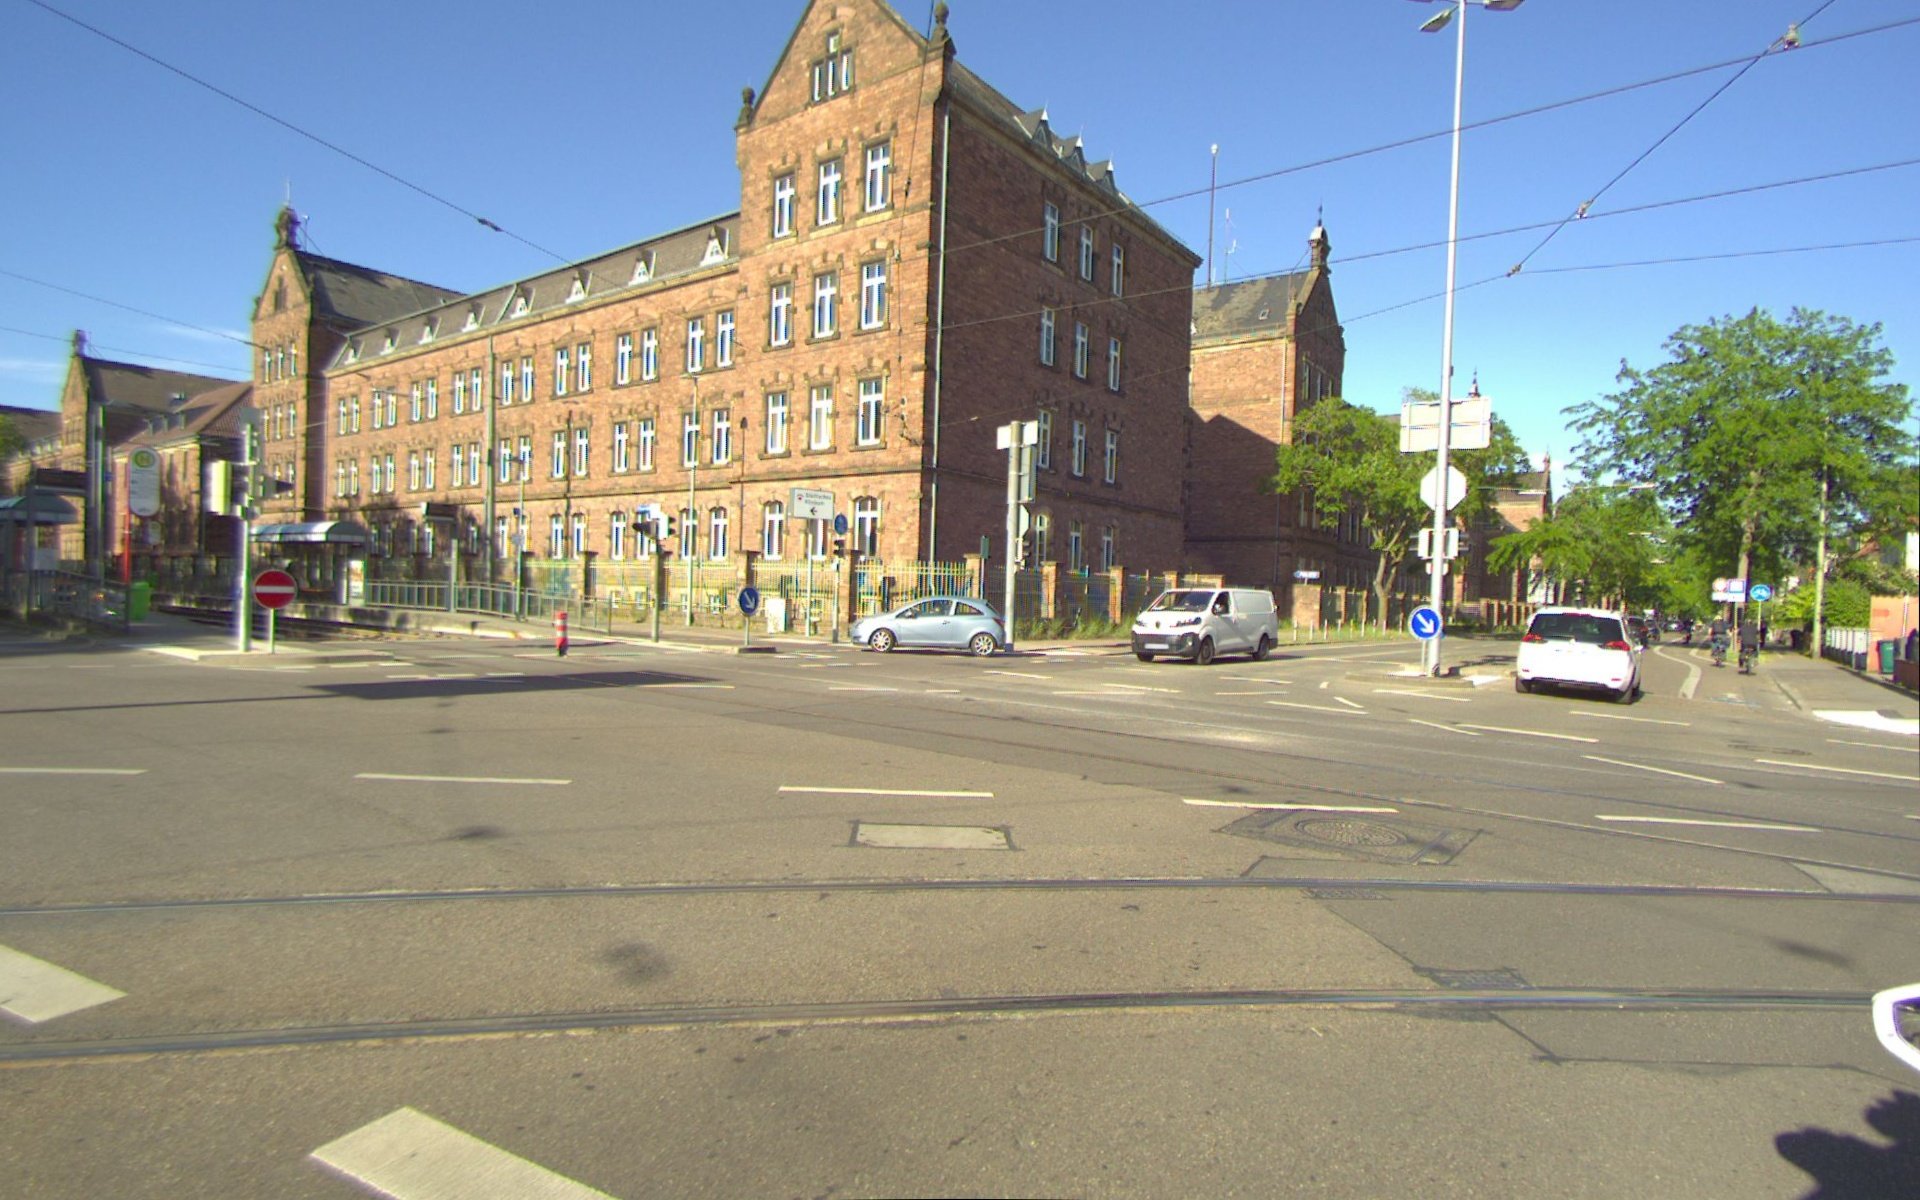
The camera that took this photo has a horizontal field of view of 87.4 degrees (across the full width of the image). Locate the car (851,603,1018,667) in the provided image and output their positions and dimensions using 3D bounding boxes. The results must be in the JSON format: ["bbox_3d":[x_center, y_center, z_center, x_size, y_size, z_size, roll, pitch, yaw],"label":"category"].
[{"bbox_3d":[-0.696,0.857,25.332,4.038,1.462,1.740,2,0,-6],"label":"car"}]

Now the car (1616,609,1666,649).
[{"bbox_3d":[36.232,1.501,53.549,1.964,1.874,4.237,5,3,33],"label":"car"}]

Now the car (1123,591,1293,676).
[{"bbox_3d":[6.525,0.818,25.971,2.133,1.954,5.276,1,0,40],"label":"car"}]

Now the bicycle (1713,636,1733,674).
[{"bbox_3d":[26.061,1.857,34.315,0.465,1.205,1.988,3,1,37],"label":"bicycle"}]

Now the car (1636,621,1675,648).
[{"bbox_3d":[51.168,2.535,73.879,1.967,1.687,4.106,6,3,38],"label":"car"}]

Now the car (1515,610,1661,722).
[{"bbox_3d":[11.972,1.120,19.035,1.937,1.687,4.234,6,3,36],"label":"car"}]

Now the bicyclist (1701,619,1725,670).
[{"bbox_3d":[26.017,1.518,34.710,0.600,1.679,0.792,3,2,37],"label":"bicyclist"}]

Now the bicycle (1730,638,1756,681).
[{"bbox_3d":[23.824,1.791,30.560,0.551,1.205,1.988,3,1,37],"label":"bicycle"}]

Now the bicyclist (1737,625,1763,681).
[{"bbox_3d":[23.977,1.604,30.485,0.547,1.639,0.683,3,2,38],"label":"bicyclist"}]
